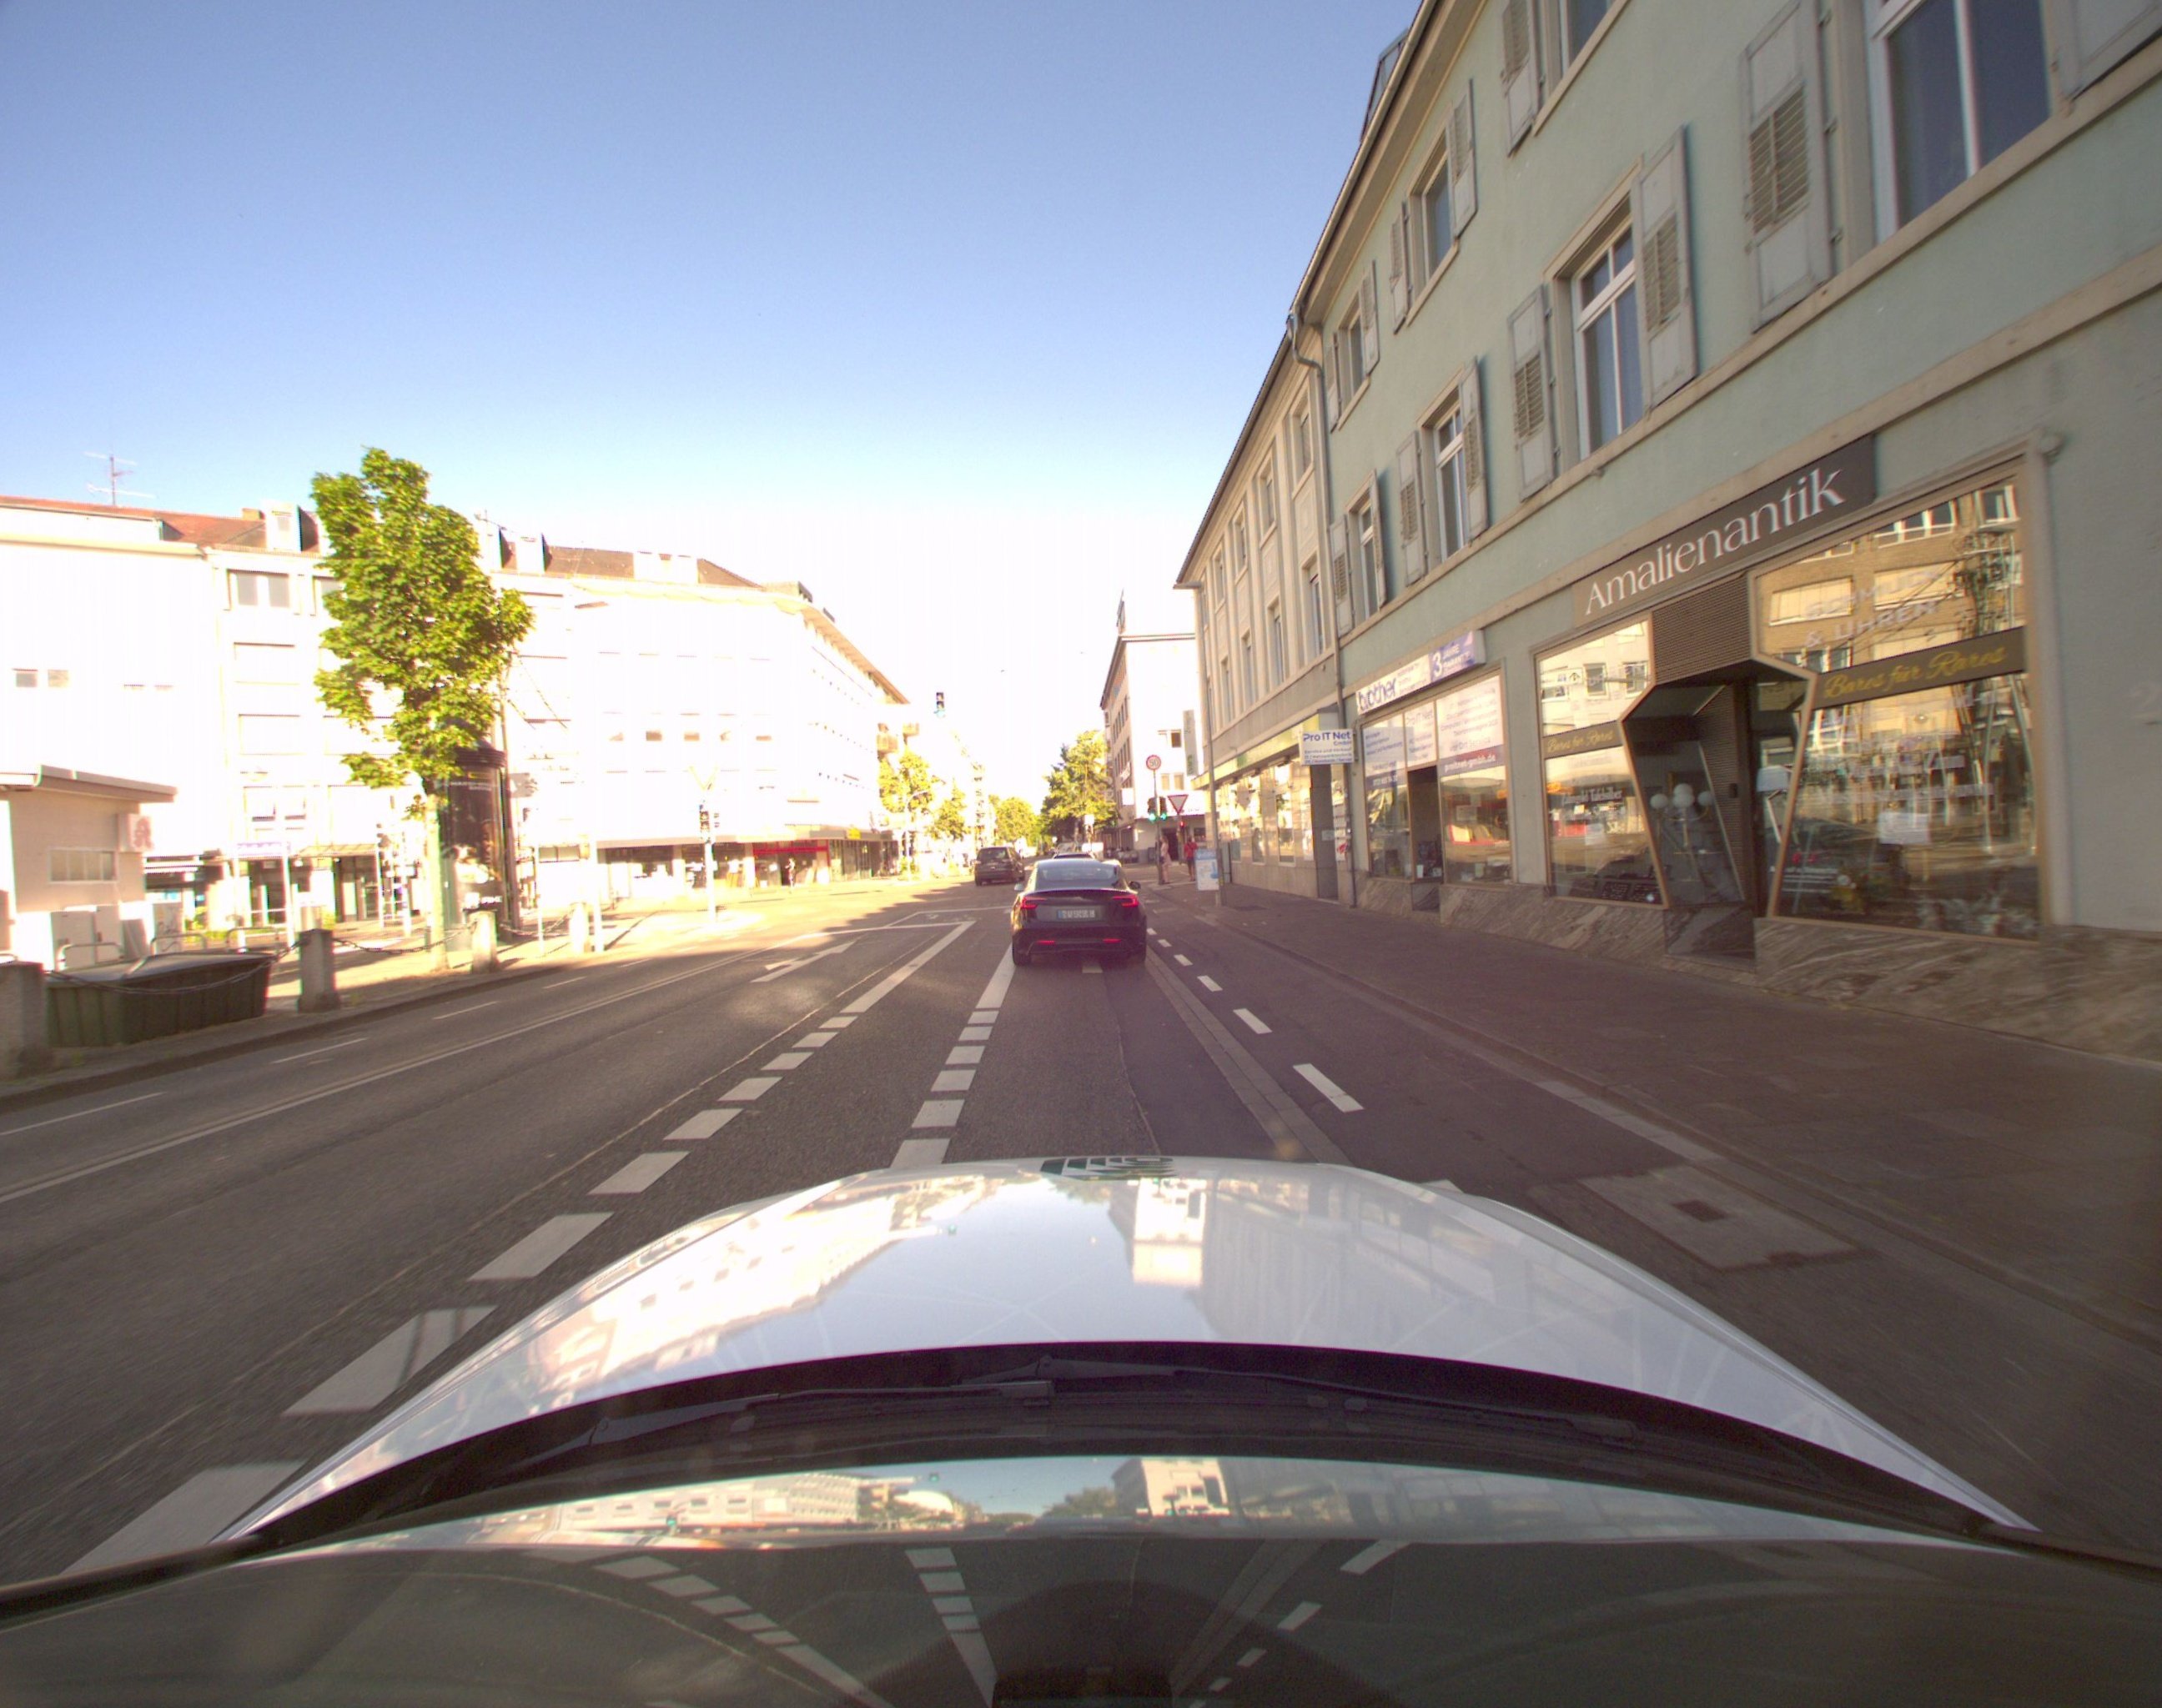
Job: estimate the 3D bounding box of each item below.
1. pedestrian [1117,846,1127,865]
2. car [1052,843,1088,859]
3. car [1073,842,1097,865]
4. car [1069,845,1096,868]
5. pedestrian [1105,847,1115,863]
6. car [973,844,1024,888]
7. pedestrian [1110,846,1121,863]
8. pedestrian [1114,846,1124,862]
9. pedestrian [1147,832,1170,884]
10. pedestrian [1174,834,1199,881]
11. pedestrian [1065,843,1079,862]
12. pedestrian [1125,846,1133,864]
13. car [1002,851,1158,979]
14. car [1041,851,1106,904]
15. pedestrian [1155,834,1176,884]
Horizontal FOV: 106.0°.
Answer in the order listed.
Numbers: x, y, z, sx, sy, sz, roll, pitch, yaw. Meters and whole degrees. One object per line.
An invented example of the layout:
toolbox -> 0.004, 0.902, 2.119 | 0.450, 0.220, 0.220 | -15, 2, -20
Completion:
pedestrian -> 3.055, 0.113, 60.664 | 0.585, 1.312, 0.560 | -4, 0, -2
car -> -1.735, -0.431, 127.890 | 5.379, 2.145, 1.998 | -4, 0, -3
car -> 0.301, -0.057, 72.664 | 1.899, 1.852, 4.286 | -4, 0, -2
car -> 0.073, 0.173, 66.228 | 1.995, 1.636, 4.286 | -4, 0, -2
pedestrian -> 2.535, 0.049, 71.251 | 0.708, 1.347, 1.058 | -4, 0, -5
car -> -3.673, 0.497, 36.947 | 1.899, 1.733, 4.286 | -4, 0, -2
pedestrian -> 2.964, 0.030, 70.158 | 0.729, 1.347, 1.058 | -4, 0, -4
pedestrian -> 3.309, -0.011, 71.440 | 0.729, 1.360, 0.958 | -4, 0, -2
pedestrian -> 2.829, 0.135, 29.910 | 0.638, 1.842, 0.681 | -4, 0, -2
pedestrian -> 3.943, 0.127, 30.396 | 0.688, 1.703, 0.912 | -5, 0, -1
pedestrian -> -0.912, -0.159, 82.657 | 0.951, 1.915, 1.109 | -4, 0, 14
pedestrian -> 3.624, 0.067, 61.461 | 0.485, 1.322, 0.654 | -4, 0, 6
car -> -0.036, 0.756, 12.399 | 1.864, 1.427, 4.363 | -4, 1, -1
car -> -0.152, 0.679, 25.693 | 1.755, 1.418, 4.357 | -3, 0, 2
pedestrian -> 3.047, 0.187, 29.375 | 0.571, 1.759, 0.649 | -3, 0, -2
